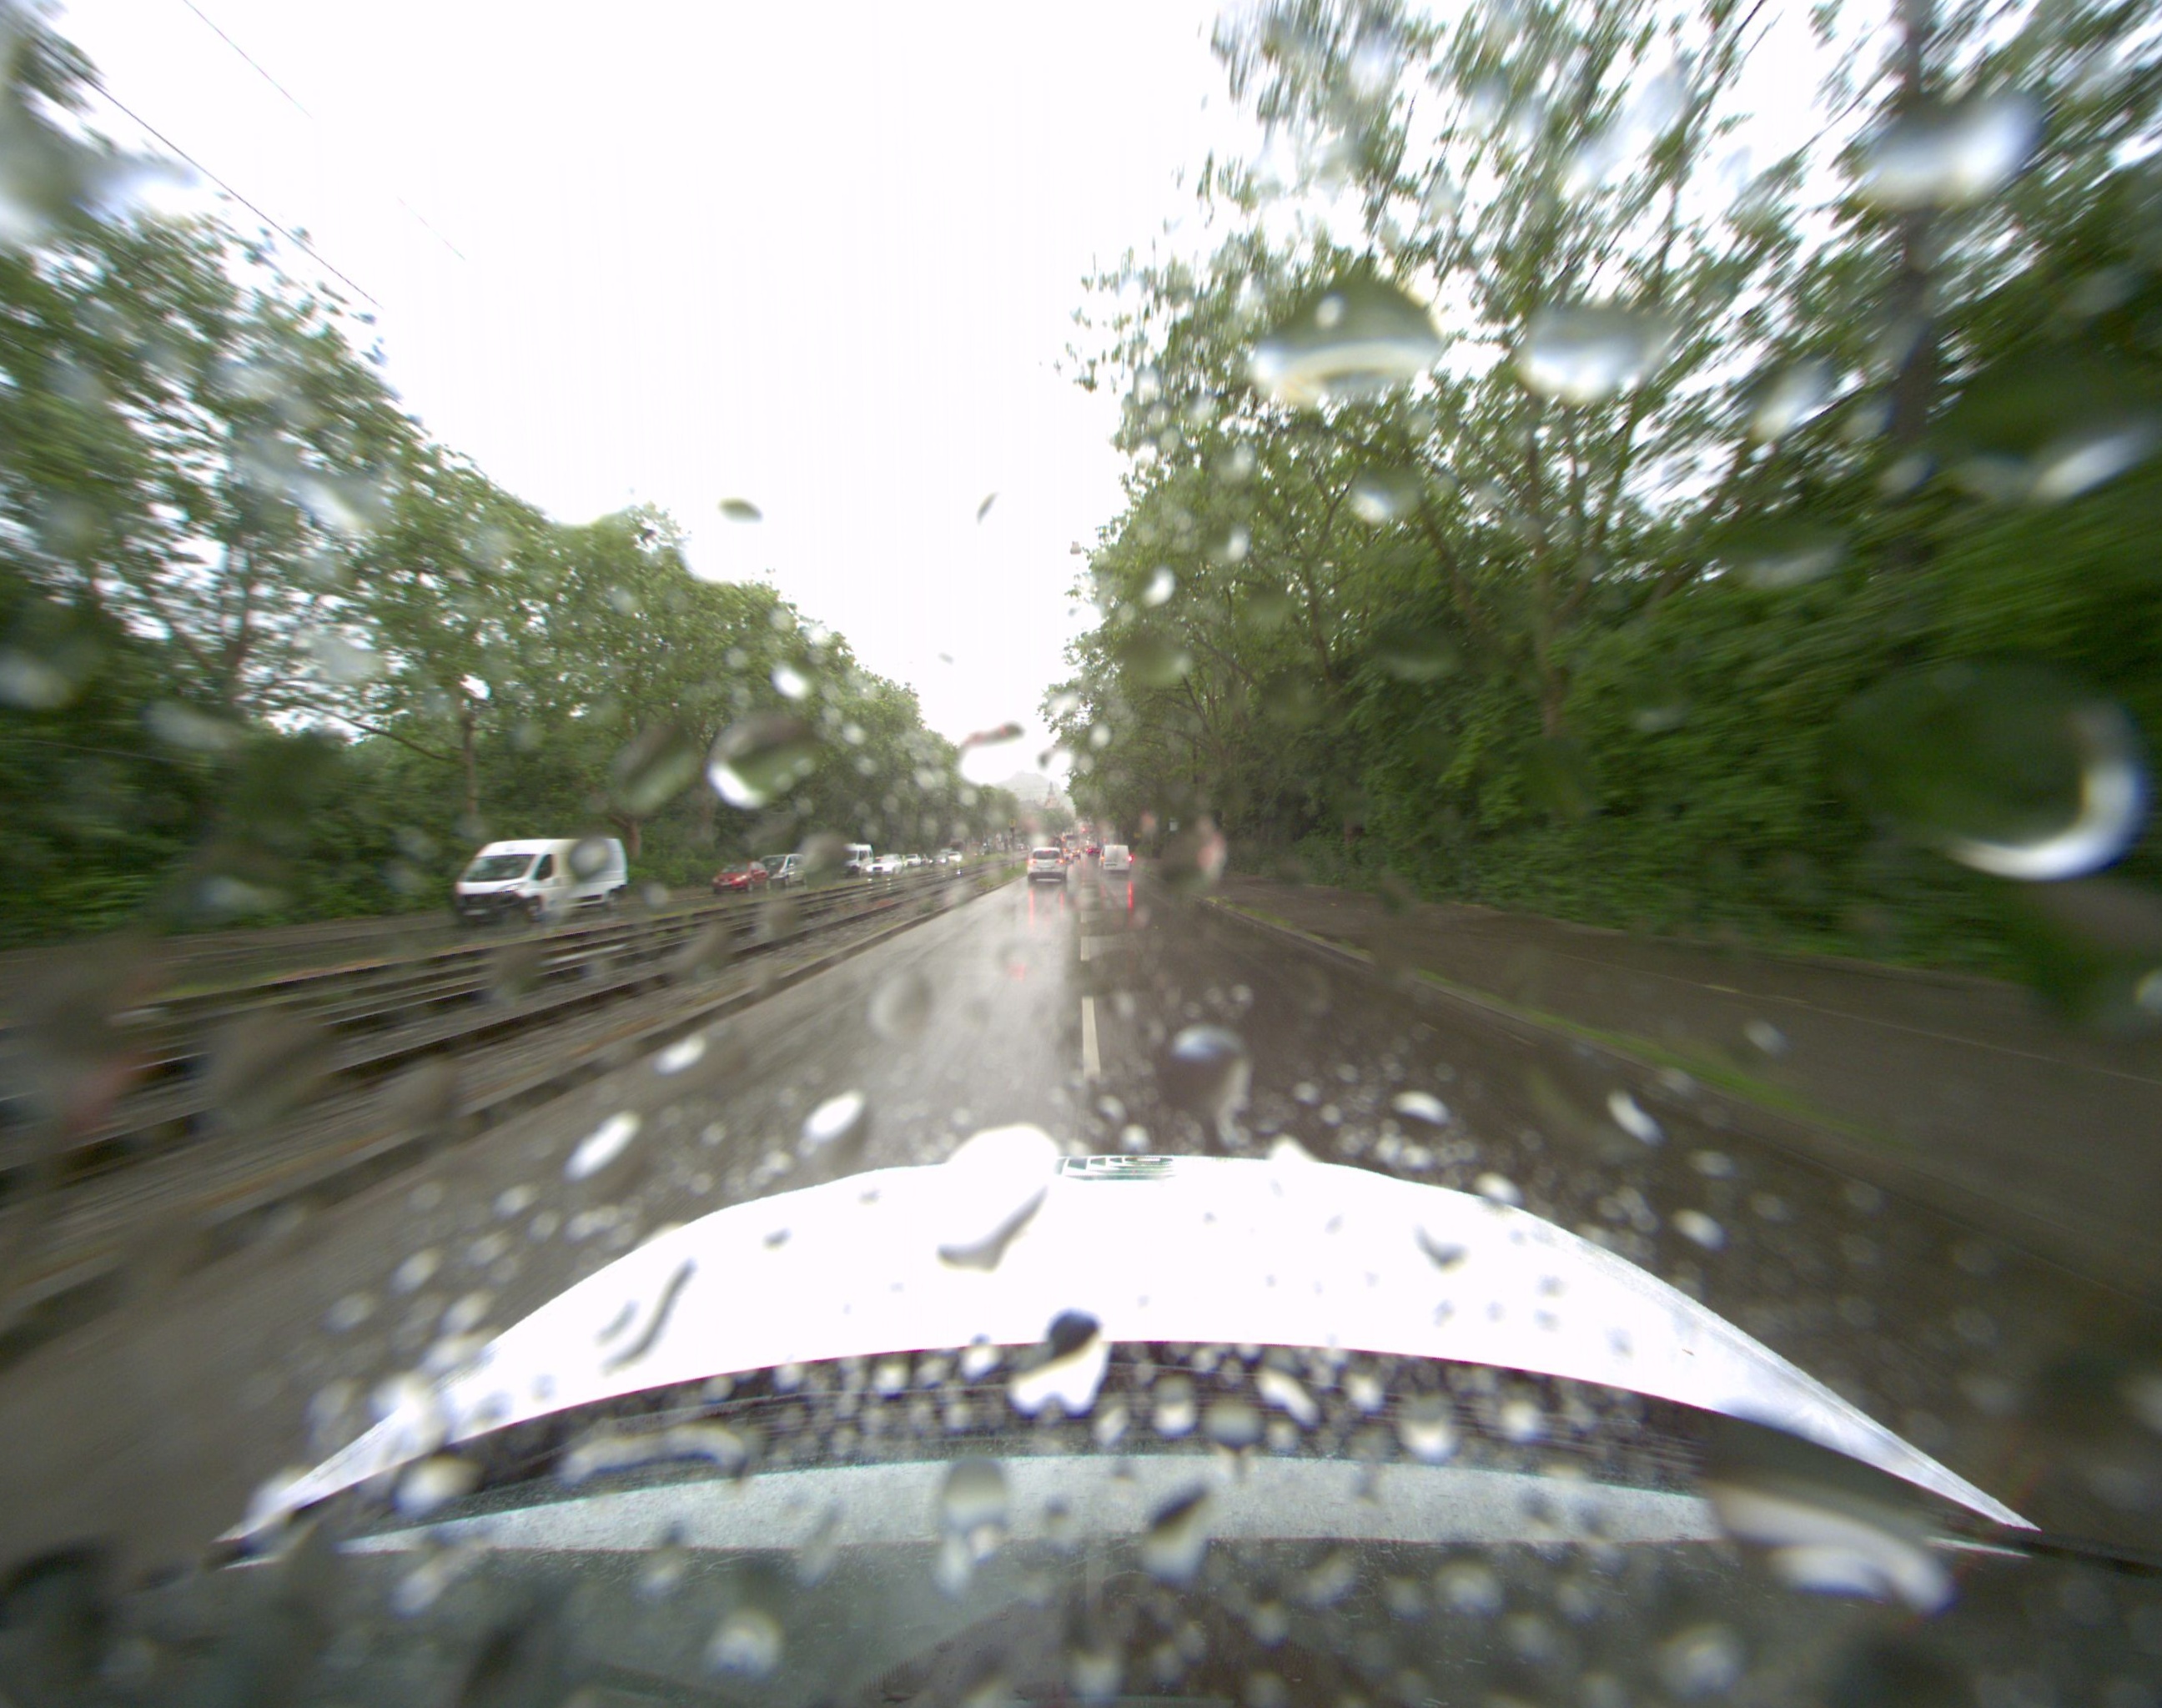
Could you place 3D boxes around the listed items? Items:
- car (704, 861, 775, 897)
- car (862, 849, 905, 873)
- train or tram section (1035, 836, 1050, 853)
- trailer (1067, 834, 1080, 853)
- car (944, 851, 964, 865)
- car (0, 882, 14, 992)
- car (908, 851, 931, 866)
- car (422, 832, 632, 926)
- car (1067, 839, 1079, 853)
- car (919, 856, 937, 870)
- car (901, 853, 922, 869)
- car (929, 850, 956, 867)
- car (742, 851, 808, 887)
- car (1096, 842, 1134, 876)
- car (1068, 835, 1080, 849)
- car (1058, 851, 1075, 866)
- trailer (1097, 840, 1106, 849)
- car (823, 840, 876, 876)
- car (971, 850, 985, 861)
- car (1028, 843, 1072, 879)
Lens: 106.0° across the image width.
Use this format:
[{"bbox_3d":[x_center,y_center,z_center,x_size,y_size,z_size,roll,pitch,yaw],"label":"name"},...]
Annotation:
[{"bbox_3d":[-16.974,1.207,40.689,1.813,1.552,4.022,-3,0,-1],"label":"car"},{"bbox_3d":[-13.969,0.441,57.874,2.028,1.552,4.992,-3,0,-3],"label":"car"},{"bbox_3d":[-8.017,-2.058,170.844,2.953,3.285,8.356,-2,2,-2],"label":"train or tram section"},{"bbox_3d":[-1.694,-2.301,172.362,2.583,3.899,7.631,0,1,-2],"label":"trailer"},{"bbox_3d":[-15.786,0.473,101.450,1.973,1.566,4.764,-3,0,-2],"label":"car"},{"bbox_3d":[-16.365,1.229,9.488,2.027,1.552,4.383,-2,0,-1],"label":"car"},{"bbox_3d":[-19.724,0.527,99.687,2.027,1.751,4.689,-3,0,-3],"label":"car"},{"bbox_3d":[-16.754,0.667,25.201,2.323,2.446,6.135,-2,0,-2],"label":"car"},{"bbox_3d":[-1.642,-1.549,159.602,2.322,2.557,6.112,0,0,-1],"label":"car"},{"bbox_3d":[-20.186,1.188,107.730,2.029,1.657,4.599,-1,0,-7],"label":"car"},{"bbox_3d":[-19.635,0.789,94.688,1.757,1.648,3.809,-3,0,-3],"label":"car"},{"bbox_3d":[-14.368,0.449,84.551,2.027,1.552,4.564,-3,0,-1],"label":"car"},{"bbox_3d":[-17.238,0.816,46.102,1.951,1.862,4.638,-2,0,-1],"label":"car"},{"bbox_3d":[1.860,0.263,45.397,1.953,1.777,3.568,0,0,-1],"label":"car"},{"bbox_3d":[-1.288,-2.160,148.184,1.987,2.262,5.287,0,0,-1],"label":"car"},{"bbox_3d":[-1.520,0.437,84.247,1.720,1.479,3.804,0,0,-1],"label":"car"},{"bbox_3d":[5.156,-2.386,206.821,1.987,2.317,4.667,0,0,0],"label":"trailer"},{"bbox_3d":[-17.672,0.278,62.492,2.384,2.540,6.560,-3,0,-3],"label":"car"},{"bbox_3d":[-18.008,0.196,142.905,2.027,1.751,4.255,-3,0,-3],"label":"car"},{"bbox_3d":[-1.440,0.318,39.355,1.858,1.623,4.264,0,0,2],"label":"car"}]
